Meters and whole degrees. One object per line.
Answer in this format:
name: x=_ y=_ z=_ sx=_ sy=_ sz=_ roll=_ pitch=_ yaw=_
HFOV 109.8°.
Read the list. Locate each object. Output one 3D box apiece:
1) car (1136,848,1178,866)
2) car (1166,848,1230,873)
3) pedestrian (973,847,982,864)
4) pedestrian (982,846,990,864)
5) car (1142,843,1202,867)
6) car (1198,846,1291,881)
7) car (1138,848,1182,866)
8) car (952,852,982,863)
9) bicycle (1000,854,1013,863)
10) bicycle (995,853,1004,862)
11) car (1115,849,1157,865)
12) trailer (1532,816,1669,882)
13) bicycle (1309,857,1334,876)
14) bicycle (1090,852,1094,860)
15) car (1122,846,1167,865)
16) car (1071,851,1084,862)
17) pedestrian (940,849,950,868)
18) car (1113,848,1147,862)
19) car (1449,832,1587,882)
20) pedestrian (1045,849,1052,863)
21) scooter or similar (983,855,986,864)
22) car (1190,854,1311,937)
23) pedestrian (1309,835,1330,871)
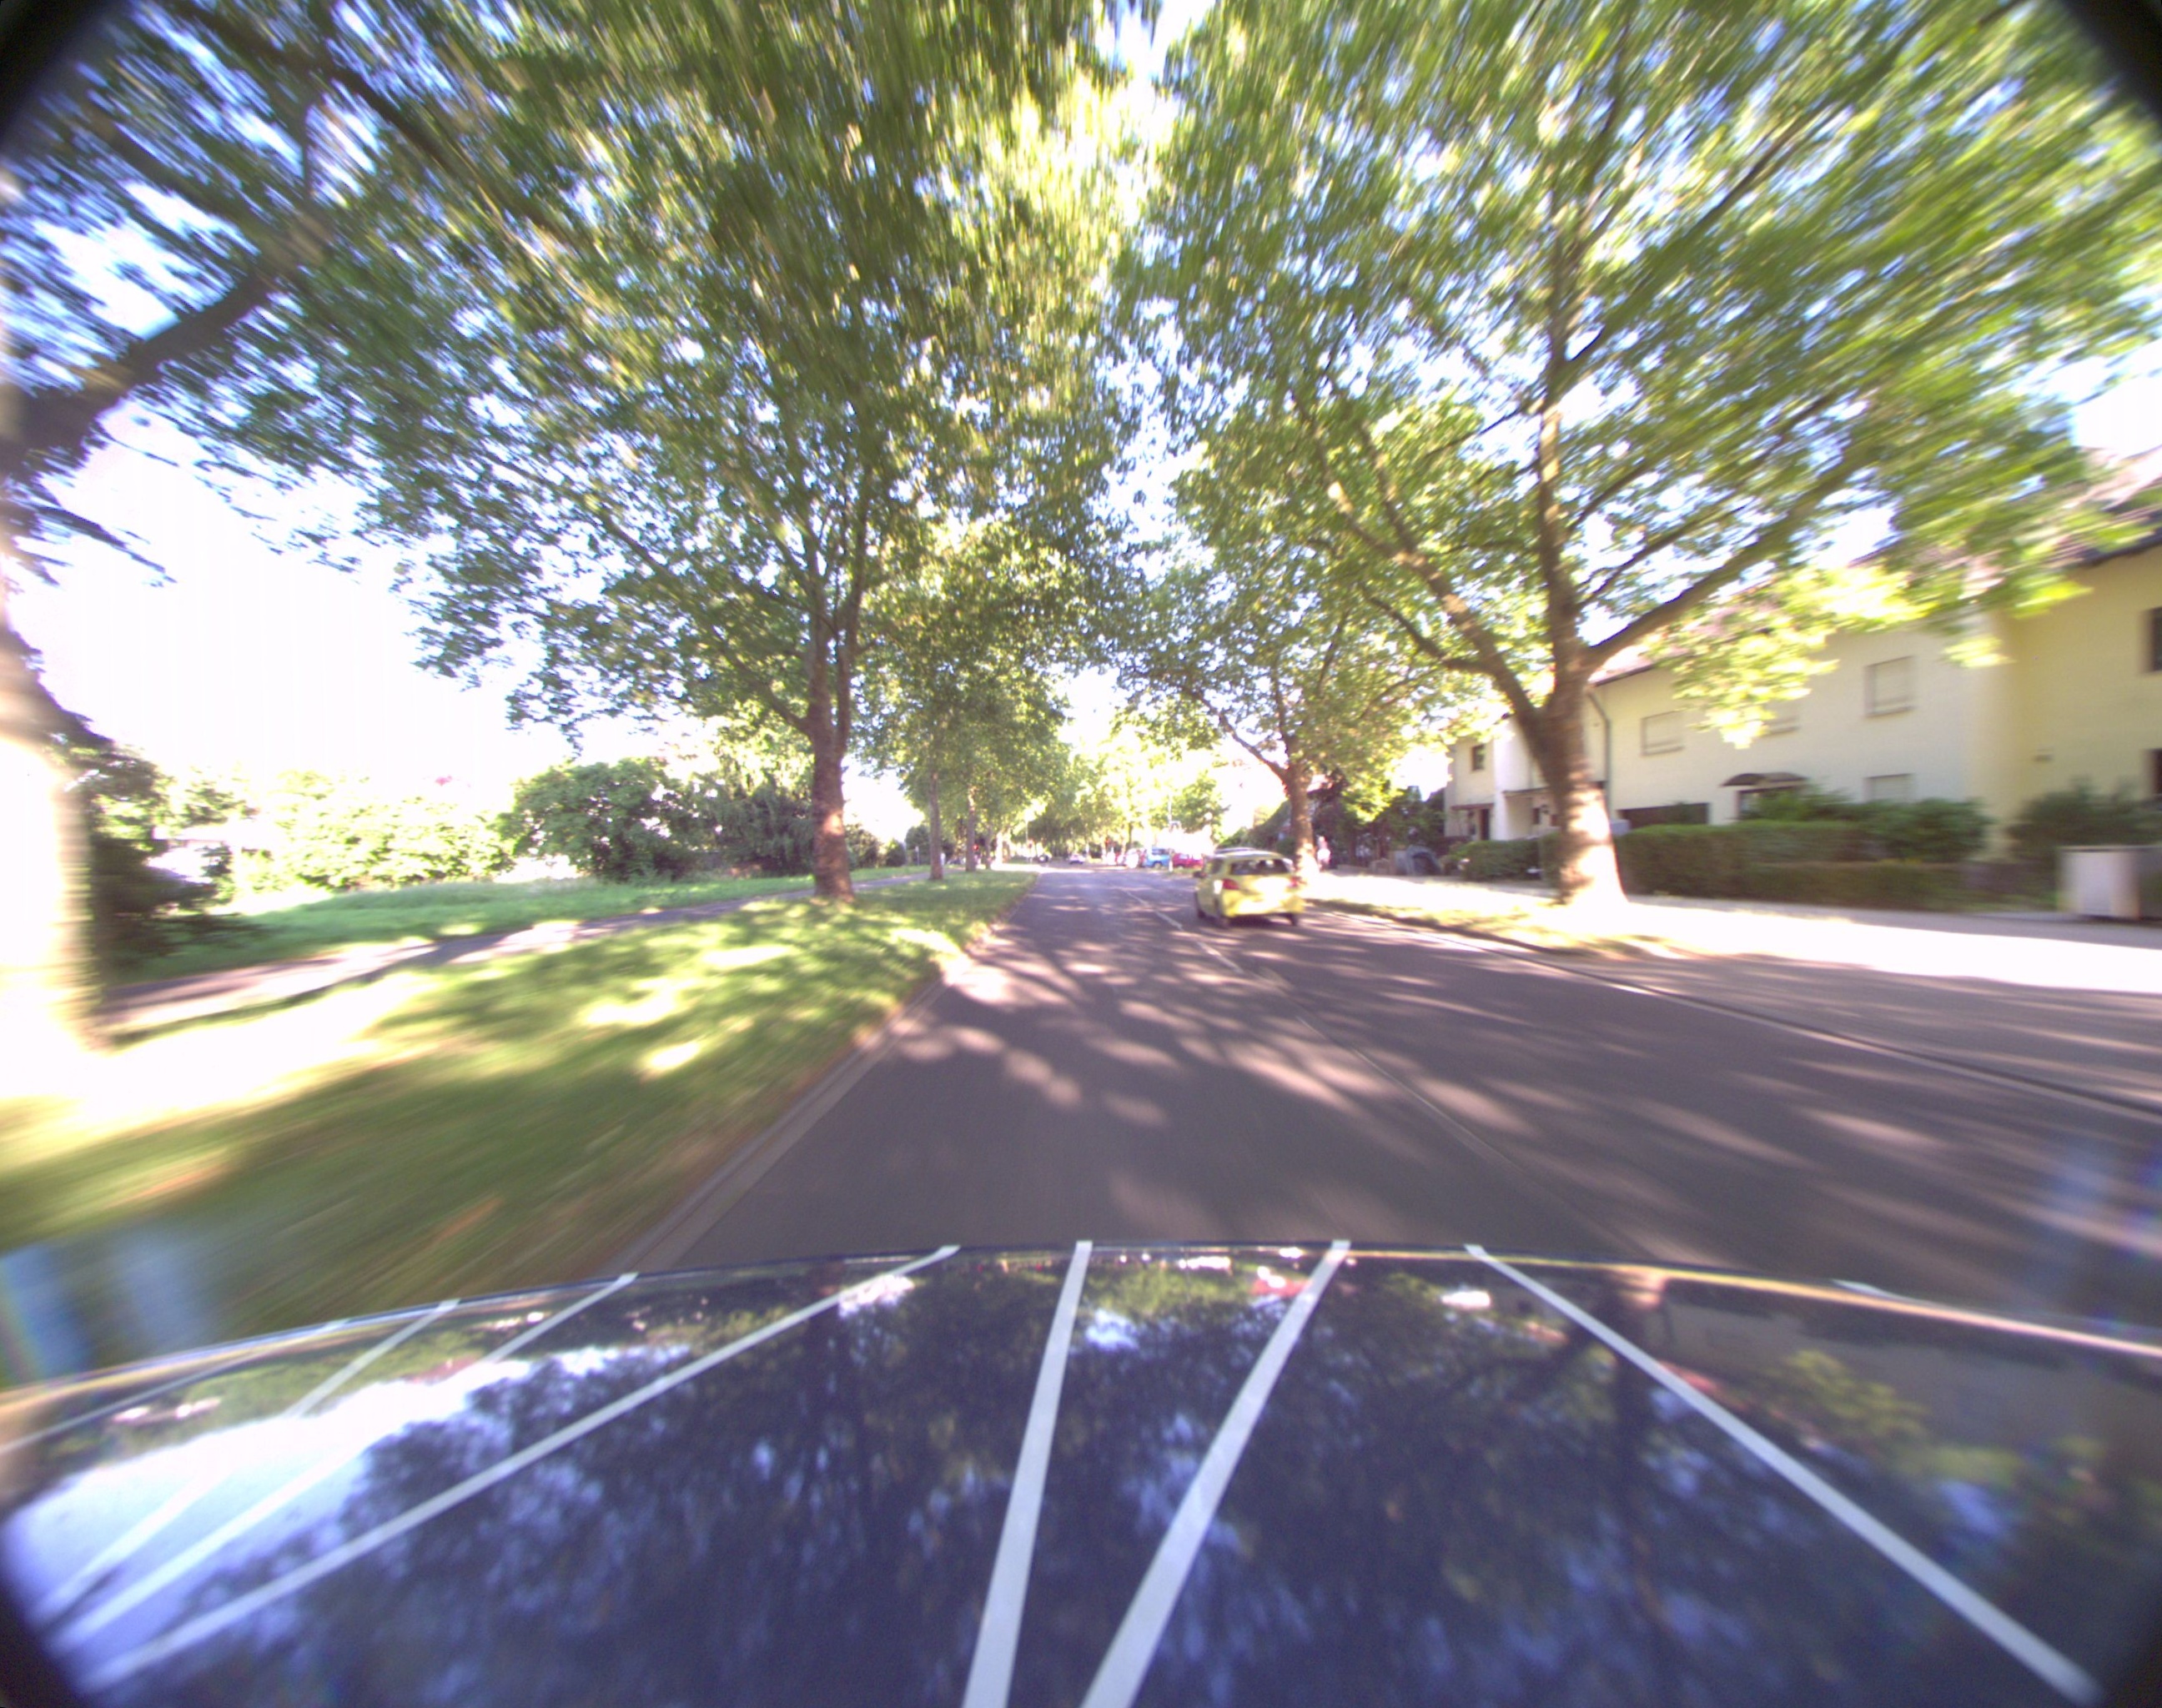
car: x=7.043 y=0.277 z=70.326 sx=3.523 sy=1.508 sz=1.725 roll=-2 pitch=1 yaw=-8
car: x=7.688 y=0.406 z=50.249 sx=3.883 sy=1.510 sz=1.664 roll=-2 pitch=1 yaw=-5
pedestrian: x=-10.923 y=0.140 z=80.236 sx=0.756 sy=1.837 sz=0.802 roll=-1 pitch=1 yaw=0
pedestrian: x=-10.035 y=0.085 z=80.253 sx=0.763 sy=1.835 sz=0.787 roll=-1 pitch=1 yaw=0
car: x=7.177 y=0.045 z=60.420 sx=4.399 sy=1.814 sz=1.994 roll=-1 pitch=1 yaw=-5
car: x=7.763 y=0.441 z=36.359 sx=3.999 sy=1.509 sz=1.817 roll=-2 pitch=1 yaw=-2
car: x=7.074 y=0.246 z=67.957 sx=3.652 sy=1.508 sz=1.781 roll=-2 pitch=0 yaw=-4
car: x=-15.796 y=0.430 z=105.175 sx=4.068 sy=1.455 sz=1.730 roll=-1 pitch=1 yaw=-8
bicycle: x=-9.273 y=0.559 z=94.844 sx=1.715 sy=1.028 sz=0.447 roll=-1 pitch=-2 yaw=31
bicycle: x=-10.056 y=0.485 z=93.586 sx=0.447 sy=1.076 sz=2.004 roll=1 pitch=-1 yaw=-24
car: x=5.798 y=0.302 z=80.234 sx=4.174 sy=1.492 sz=1.874 roll=-2 pitch=1 yaw=-6
trailer: x=17.869 y=-0.149 z=26.223 sx=3.462 sy=1.914 sz=1.643 roll=-5 pitch=-1 yaw=-2
bicycle: x=11.565 y=0.592 z=36.577 sx=0.471 sy=0.875 sz=2.155 roll=-1 pitch=1 yaw=-1
bicycle: x=1.684 y=0.245 z=117.190 sx=0.510 sy=1.036 sz=2.151 roll=3 pitch=4 yaw=-2
car: x=6.259 y=0.137 z=75.219 sx=4.103 sy=1.706 sz=1.831 roll=-1 pitch=1 yaw=-4
car: x=-0.459 y=0.301 z=105.366 sx=1.721 sy=1.492 sz=4.093 roll=-1 pitch=1 yaw=-1
pedestrian: x=-11.825 y=0.366 z=66.015 sx=0.782 sy=1.640 sz=0.938 roll=0 pitch=1 yaw=-4
car: x=5.766 y=0.093 z=90.275 sx=3.776 sy=1.526 sz=1.830 roll=-2 pitch=1 yaw=-6
car: x=16.469 y=0.115 z=28.787 sx=3.997 sy=1.468 sz=2.000 roll=-5 pitch=1 yaw=-1
pedestrian: x=-4.022 y=0.281 z=94.293 sx=0.637 sy=1.709 sz=0.825 roll=1 pitch=0 yaw=-12
scooter or similar: x=-14.375 y=0.820 z=112.963 sx=0.383 sy=1.189 sz=1.254 roll=-2 pitch=0 yaw=-6
car: x=3.472 y=0.779 z=16.268 sx=1.788 sy=1.504 sz=3.838 roll=-1 pitch=0 yaw=1
pedestrian: x=11.490 y=-0.033 z=36.620 sx=0.618 sy=1.706 sz=1.065 roll=-1 pitch=1 yaw=-1
